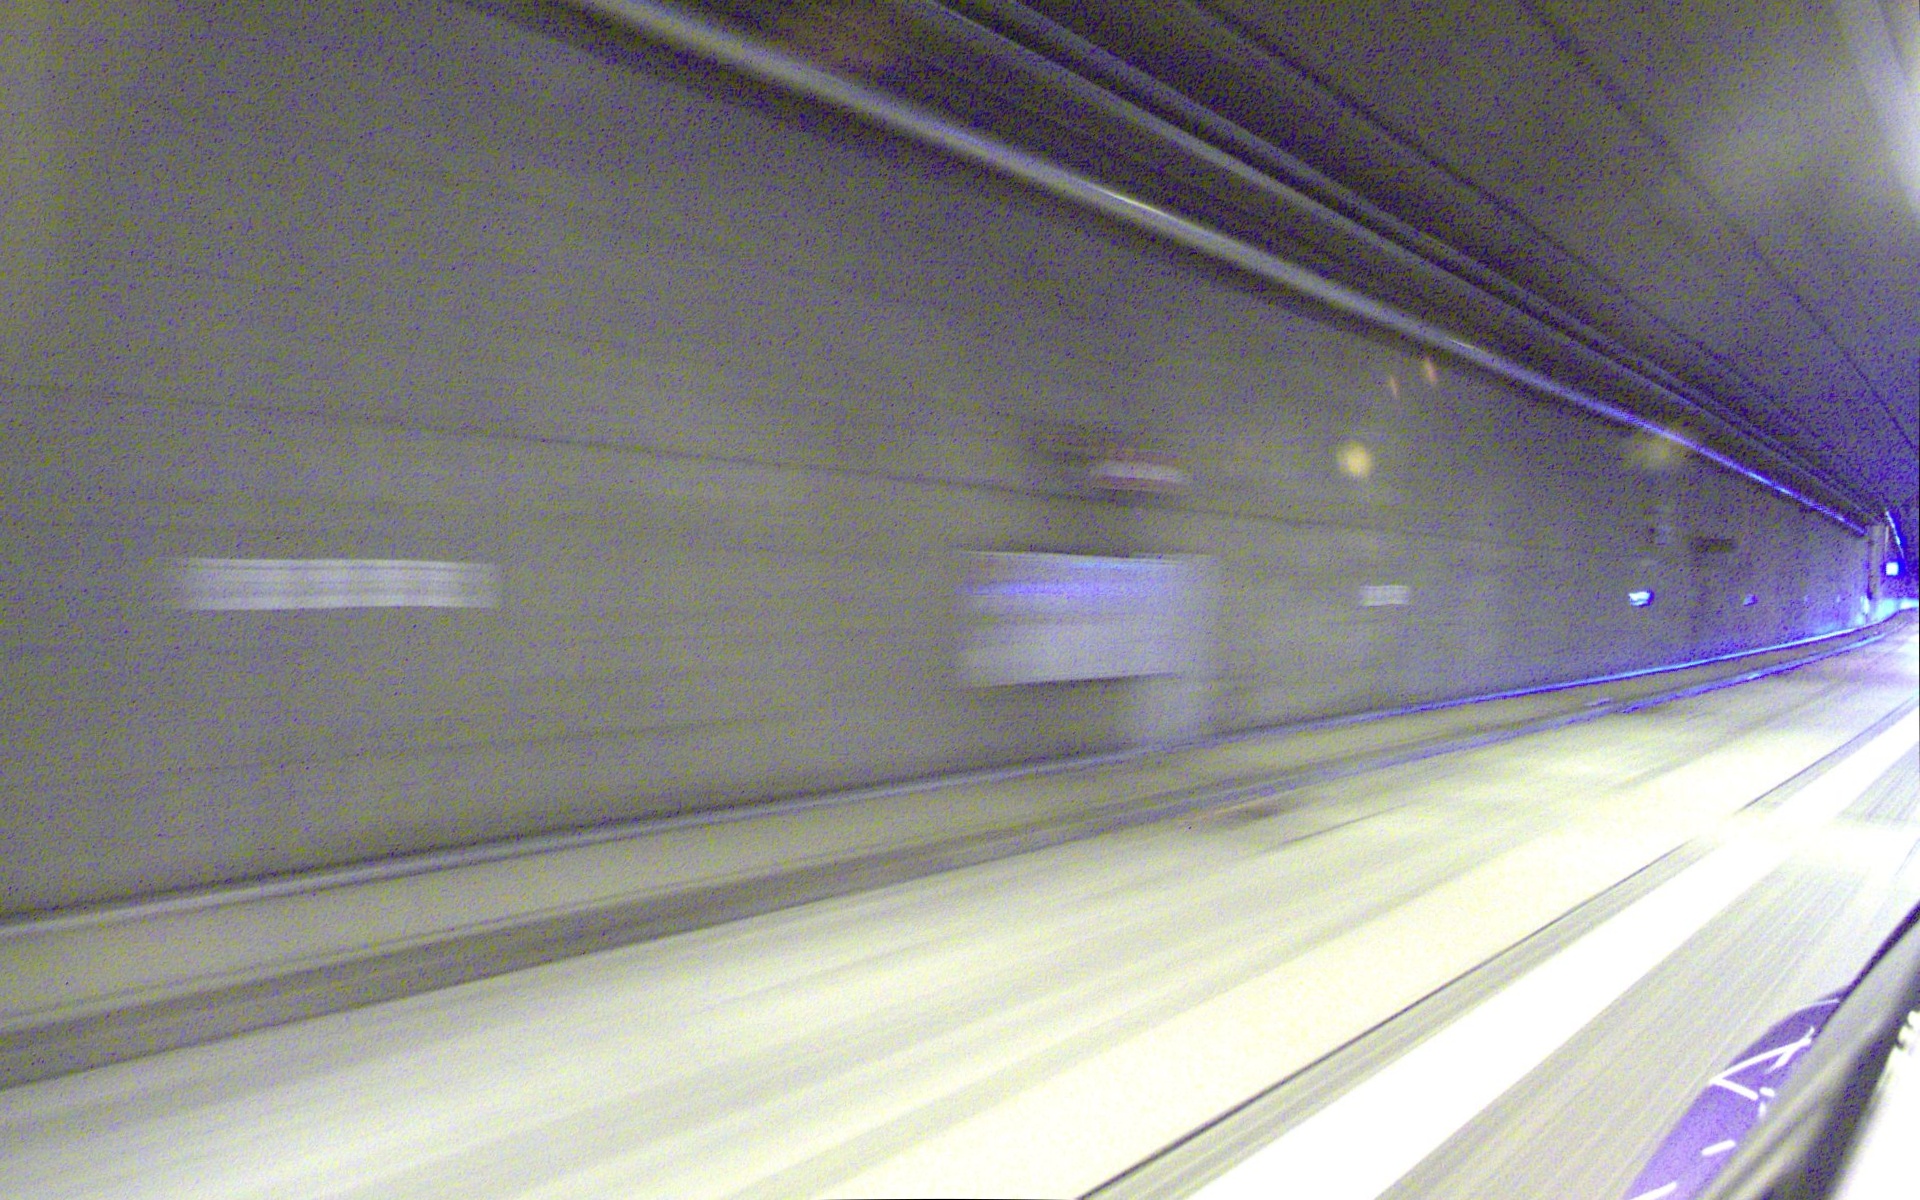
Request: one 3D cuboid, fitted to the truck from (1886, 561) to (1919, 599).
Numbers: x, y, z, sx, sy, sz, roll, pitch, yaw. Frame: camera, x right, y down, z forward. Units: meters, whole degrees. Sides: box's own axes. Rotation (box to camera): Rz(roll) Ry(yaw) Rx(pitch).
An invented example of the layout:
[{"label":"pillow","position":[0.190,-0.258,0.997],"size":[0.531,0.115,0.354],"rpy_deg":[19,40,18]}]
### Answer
[{"label":"truck","position":[102.273,-2.138,108.664],"size":[8.838,3.887,2.901],"rpy_deg":[0,4,-40]}]
